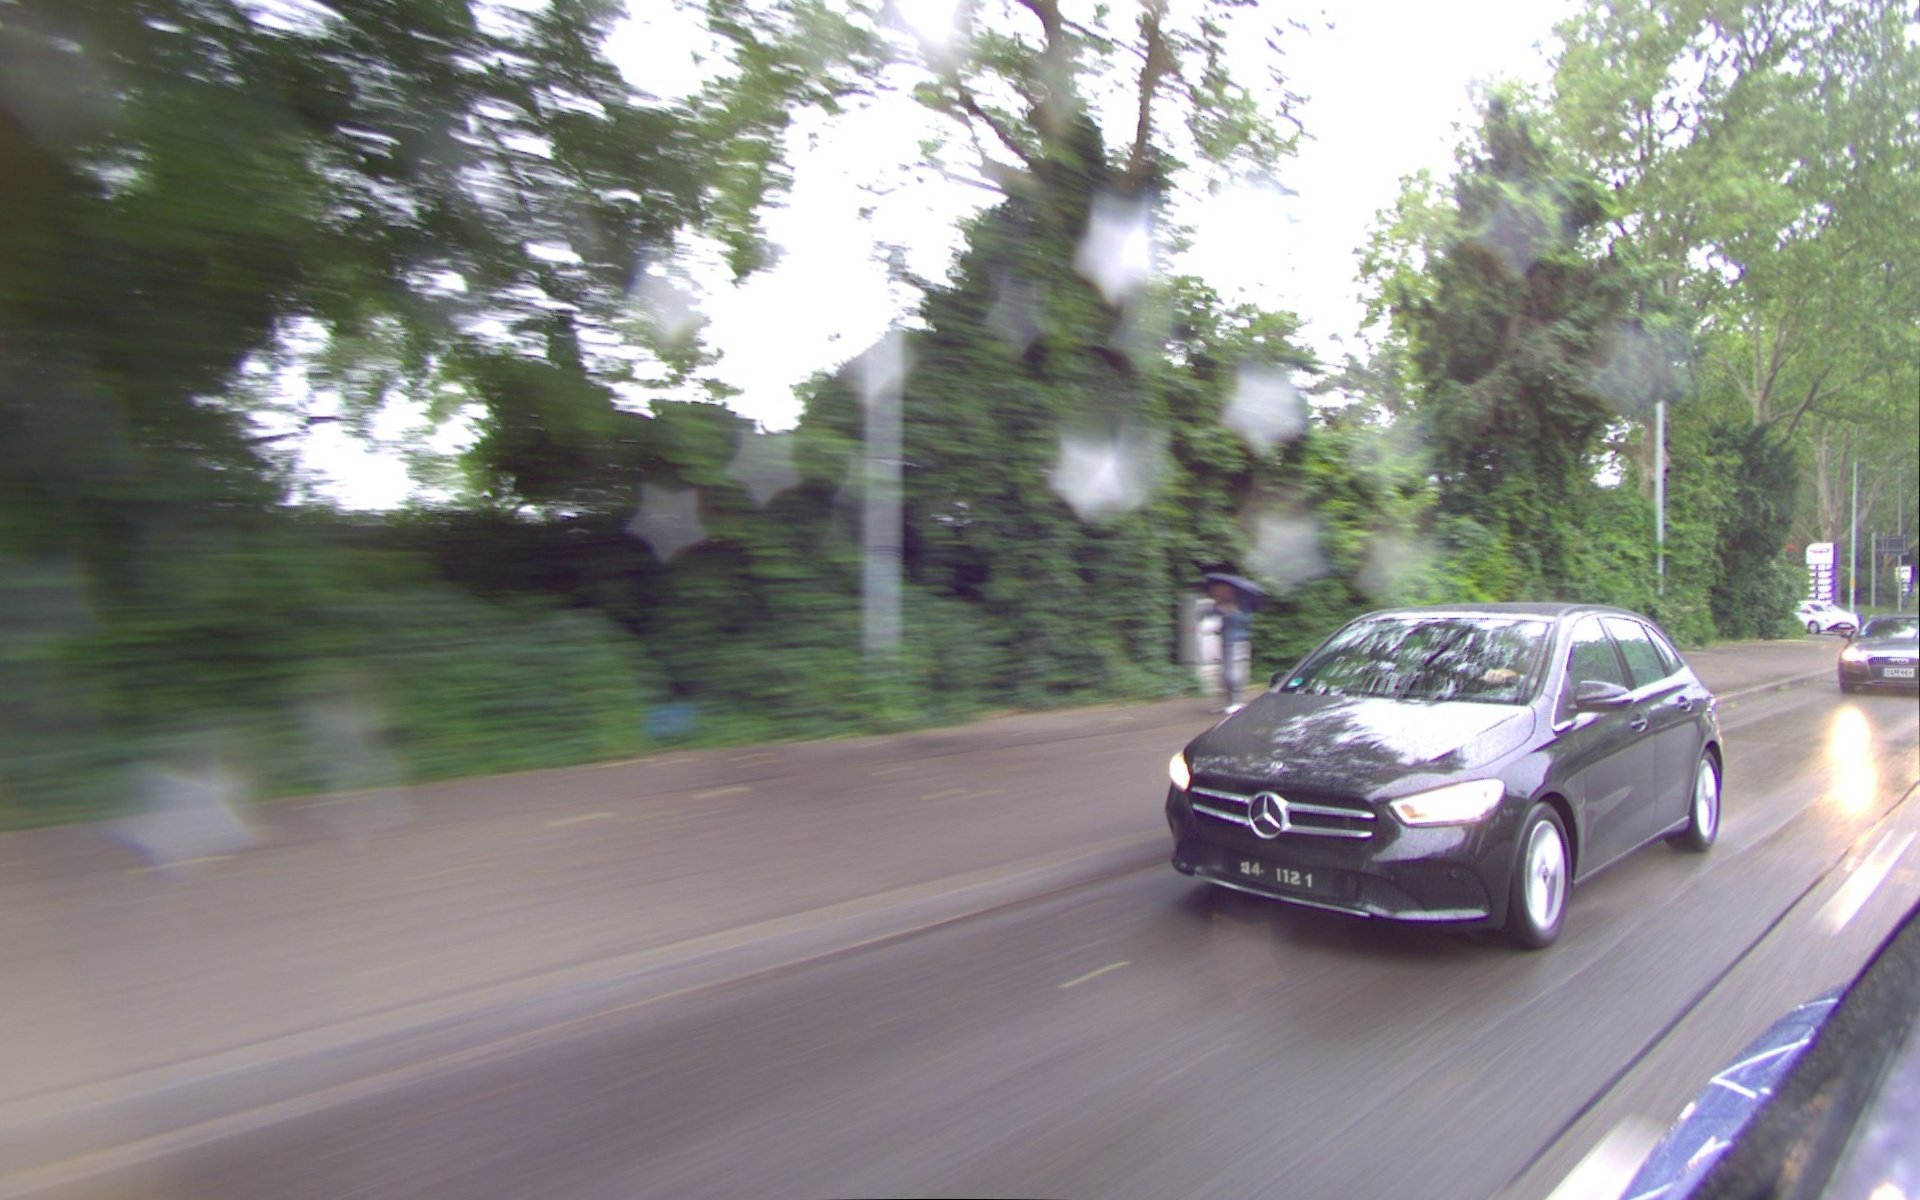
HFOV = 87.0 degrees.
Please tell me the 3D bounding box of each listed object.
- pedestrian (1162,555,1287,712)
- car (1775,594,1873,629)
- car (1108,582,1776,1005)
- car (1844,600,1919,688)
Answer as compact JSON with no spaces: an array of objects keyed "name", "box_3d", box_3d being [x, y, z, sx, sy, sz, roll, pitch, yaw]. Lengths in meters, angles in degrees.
[{"name":"pedestrian","box_3d":[3.103,0.365,11.860,1.121,1.724,0.968,0,0,-41]},{"name":"car","box_3d":[38.801,0.516,45.551,1.581,1.450,3.548,-1,-1,7]},{"name":"car","box_3d":[3.002,0.714,5.829,4.343,1.549,1.820,0,-1,-40]},{"name":"car","box_3d":[17.026,0.717,17.818,3.715,1.402,1.640,-1,-1,-40]}]
